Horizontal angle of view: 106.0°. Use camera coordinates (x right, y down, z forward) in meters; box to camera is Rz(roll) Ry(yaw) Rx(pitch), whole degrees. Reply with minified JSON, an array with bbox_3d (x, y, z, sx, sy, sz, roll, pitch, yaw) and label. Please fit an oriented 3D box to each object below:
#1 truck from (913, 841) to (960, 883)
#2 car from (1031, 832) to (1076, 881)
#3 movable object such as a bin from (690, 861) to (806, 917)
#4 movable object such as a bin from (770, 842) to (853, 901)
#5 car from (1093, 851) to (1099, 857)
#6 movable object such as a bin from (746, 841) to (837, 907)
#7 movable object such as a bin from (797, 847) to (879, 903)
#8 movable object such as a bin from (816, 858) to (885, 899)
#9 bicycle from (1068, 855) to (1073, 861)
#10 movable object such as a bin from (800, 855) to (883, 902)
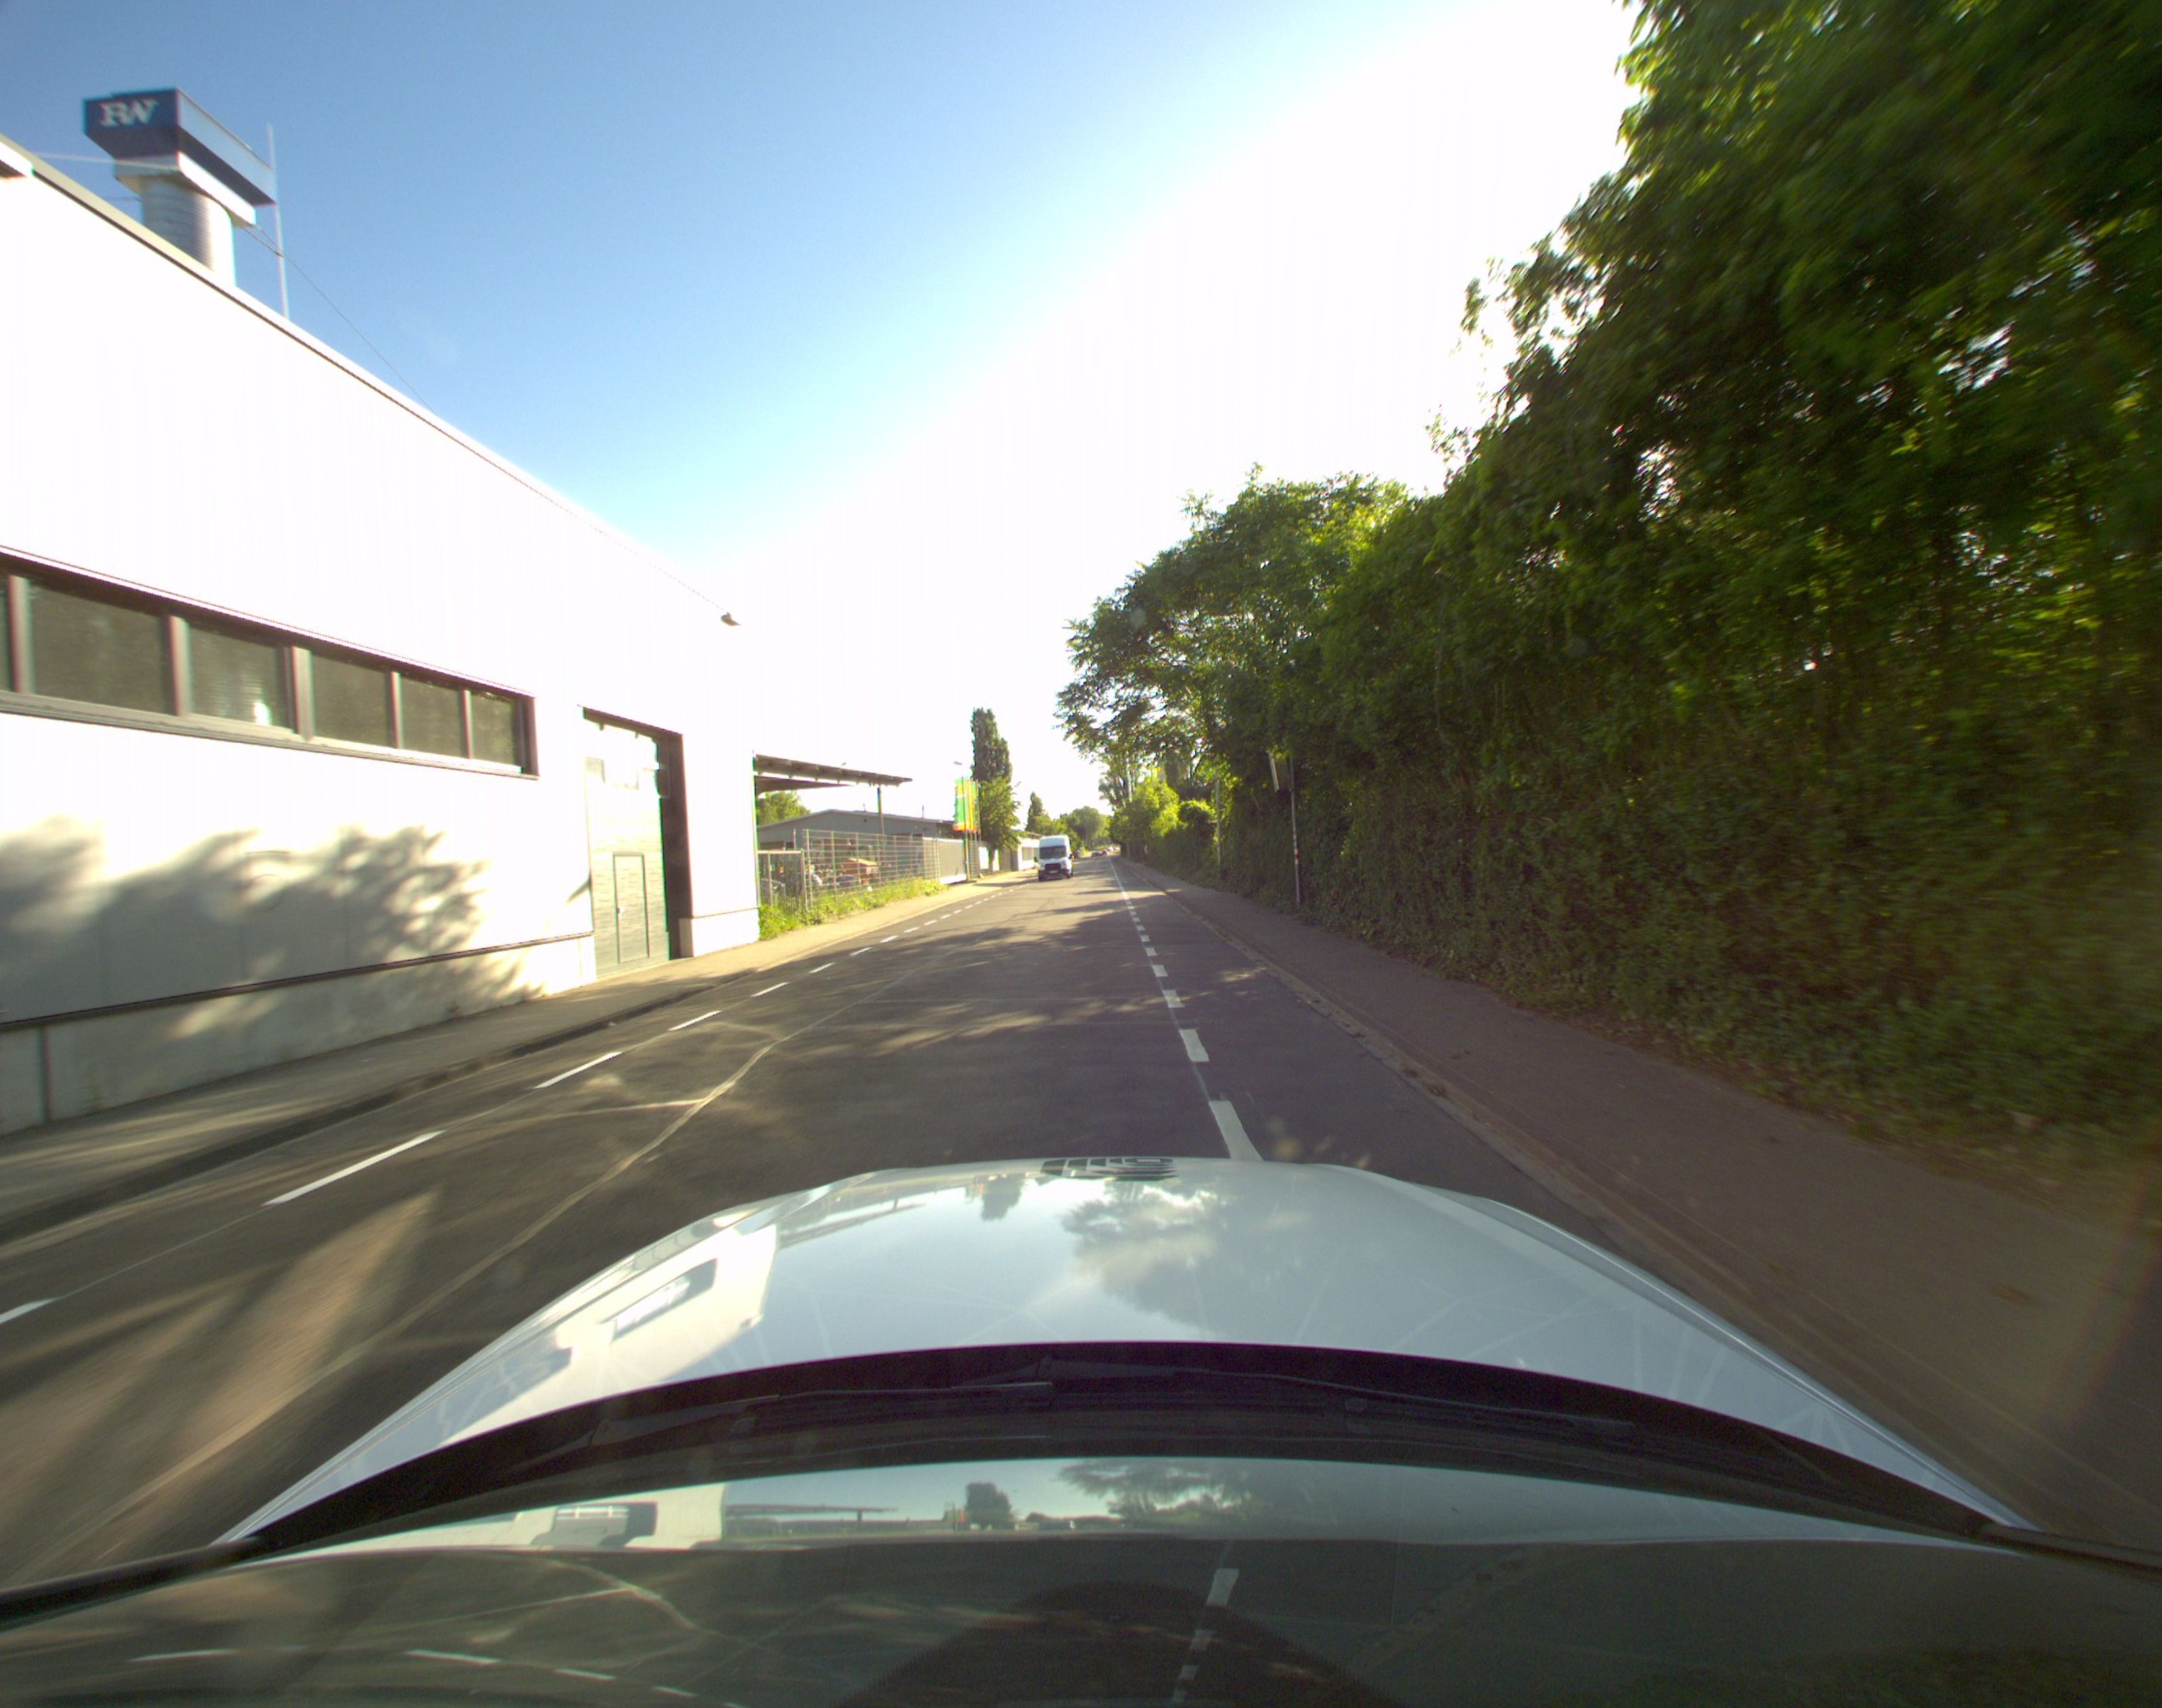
[{"bbox_3d":[-10.364,0.542,58.987,2.071,2.761,5.766,-3,0,1],"label":"truck"},{"bbox_3d":[-1.693,0.155,52.015,2.114,2.780,5.931,-5,0,3],"label":"car"},{"bbox_3d":[-10.665,1.126,26.057,3.361,1.613,1.636,-3,1,31],"label":"movable object such as a bin"},{"bbox_3d":[-10.526,0.686,31.804,2.765,2.126,1.393,-3,1,26],"label":"movable object such as a bin"},{"bbox_3d":[4.661,0.007,256.385,1.935,1.651,4.311,-1,0,2],"label":"car"},{"bbox_3d":[-10.198,0.714,28.688,2.737,2.164,1.533,-3,1,31],"label":"movable object such as a bin"},{"bbox_3d":[-9.971,0.860,33.374,2.853,2.149,1.509,-3,1,28],"label":"movable object such as a bin"},{"bbox_3d":[-10.488,1.101,37.229,2.629,1.680,1.525,-3,1,-1],"label":"movable object such as a bin"},{"bbox_3d":[-1.905,0.696,147.962,0.686,1.034,1.351,-1,0,2],"label":"bicycle"},{"bbox_3d":[-10.374,1.038,35.379,3.029,1.835,1.525,-3,1,-1],"label":"movable object such as a bin"}]
